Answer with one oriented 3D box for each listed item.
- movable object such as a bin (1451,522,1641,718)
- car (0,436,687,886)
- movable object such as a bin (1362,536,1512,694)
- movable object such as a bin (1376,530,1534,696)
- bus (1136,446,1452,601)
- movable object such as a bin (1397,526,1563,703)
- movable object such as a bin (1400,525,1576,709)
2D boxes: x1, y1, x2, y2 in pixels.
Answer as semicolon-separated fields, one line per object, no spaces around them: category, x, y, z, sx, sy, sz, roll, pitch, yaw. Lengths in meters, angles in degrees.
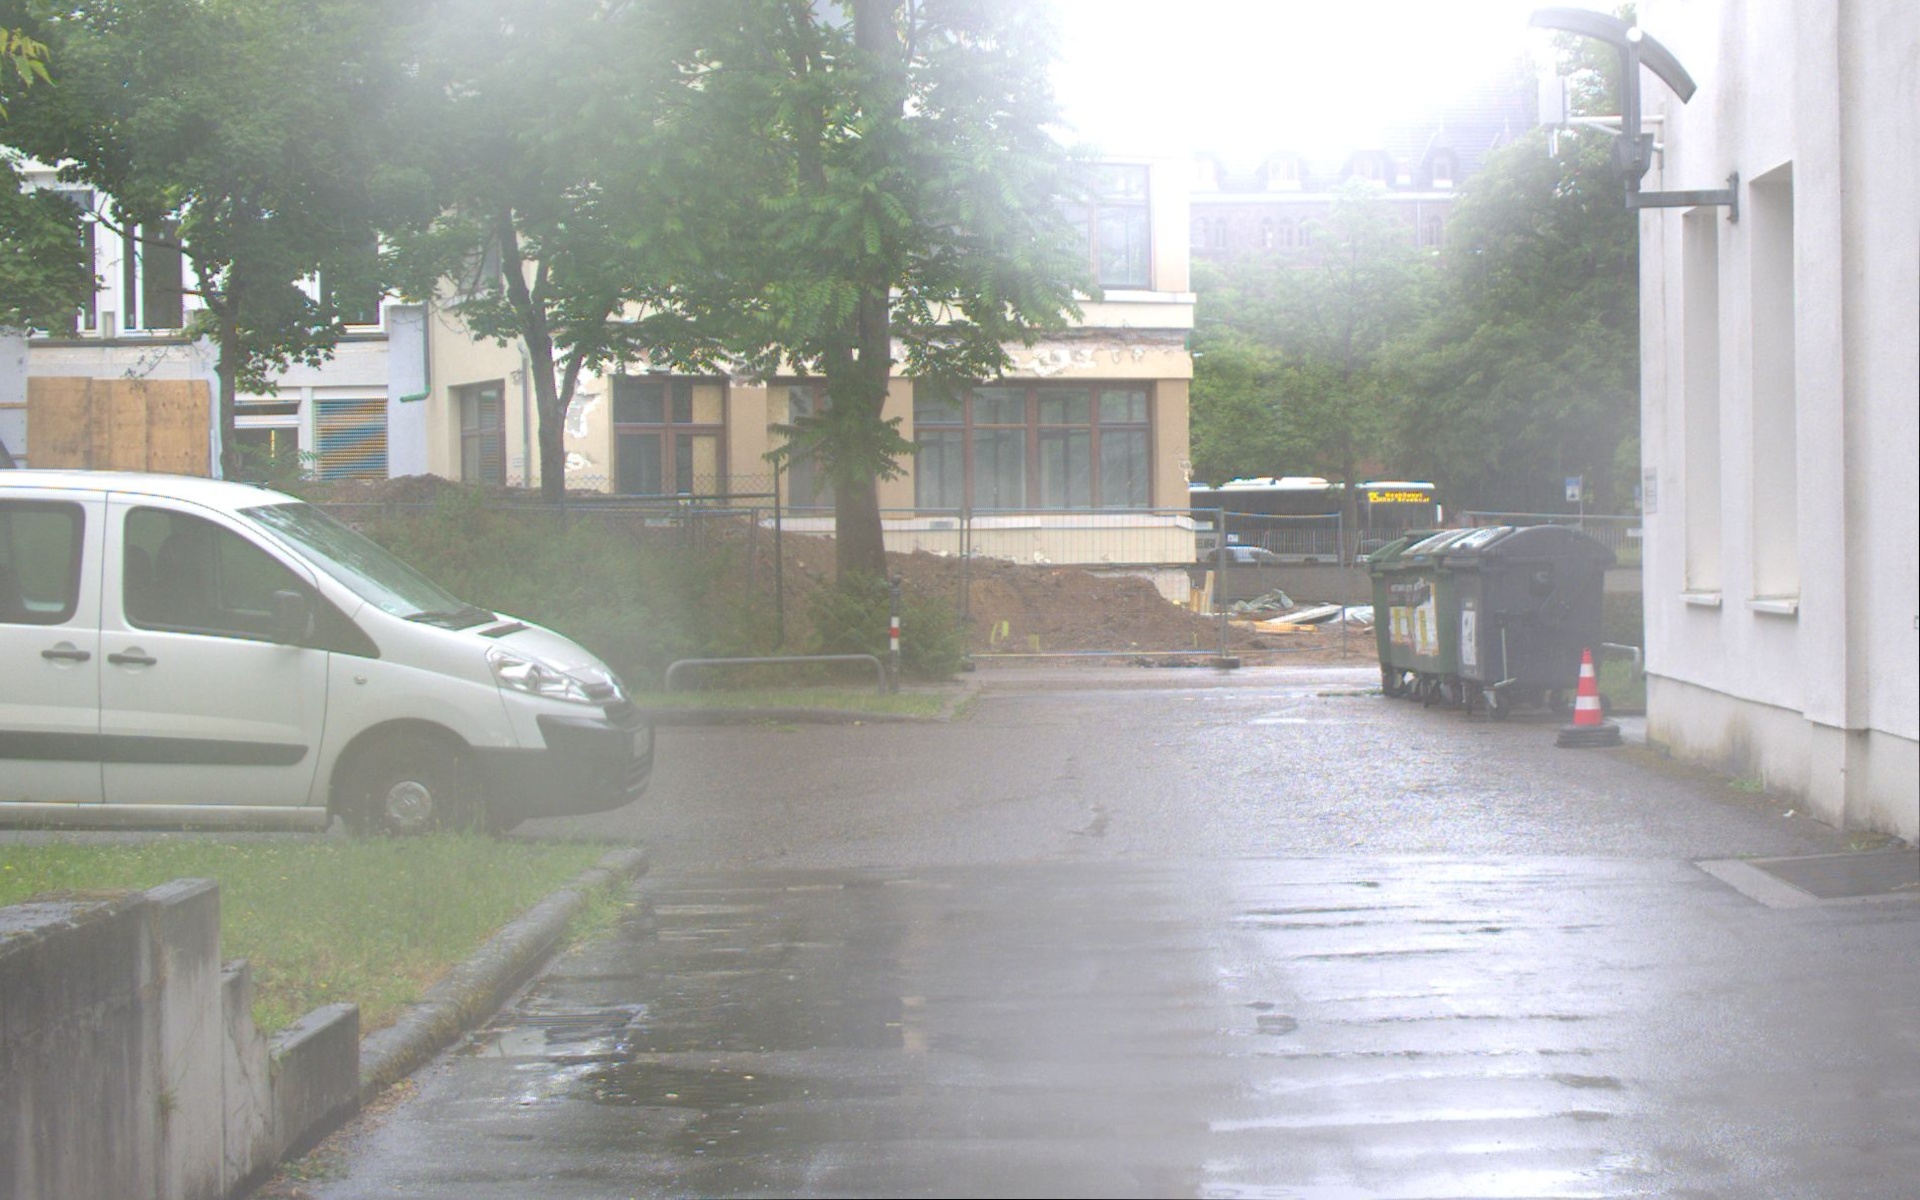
movable object such as a bin;4.381;0.159;25.800;1.214;1.432;1.236;0;-1;1
car;-3.880;0.281;16.863;4.781;2.007;2.000;-1;1;4
movable object such as a bin;4.407;0.149;31.884;1.214;1.432;1.259;0;-1;1
movable object such as a bin;4.378;0.123;30.505;1.214;1.432;1.259;0;-1;1
bus;9.201;-2.018;96.959;2.806;3.860;12.058;0;-1;-27
movable object such as a bin;4.388;0.131;29.127;1.214;1.463;1.236;0;-1;1
movable object such as a bin;4.206;0.142;27.500;1.214;1.432;1.294;0;-1;1
